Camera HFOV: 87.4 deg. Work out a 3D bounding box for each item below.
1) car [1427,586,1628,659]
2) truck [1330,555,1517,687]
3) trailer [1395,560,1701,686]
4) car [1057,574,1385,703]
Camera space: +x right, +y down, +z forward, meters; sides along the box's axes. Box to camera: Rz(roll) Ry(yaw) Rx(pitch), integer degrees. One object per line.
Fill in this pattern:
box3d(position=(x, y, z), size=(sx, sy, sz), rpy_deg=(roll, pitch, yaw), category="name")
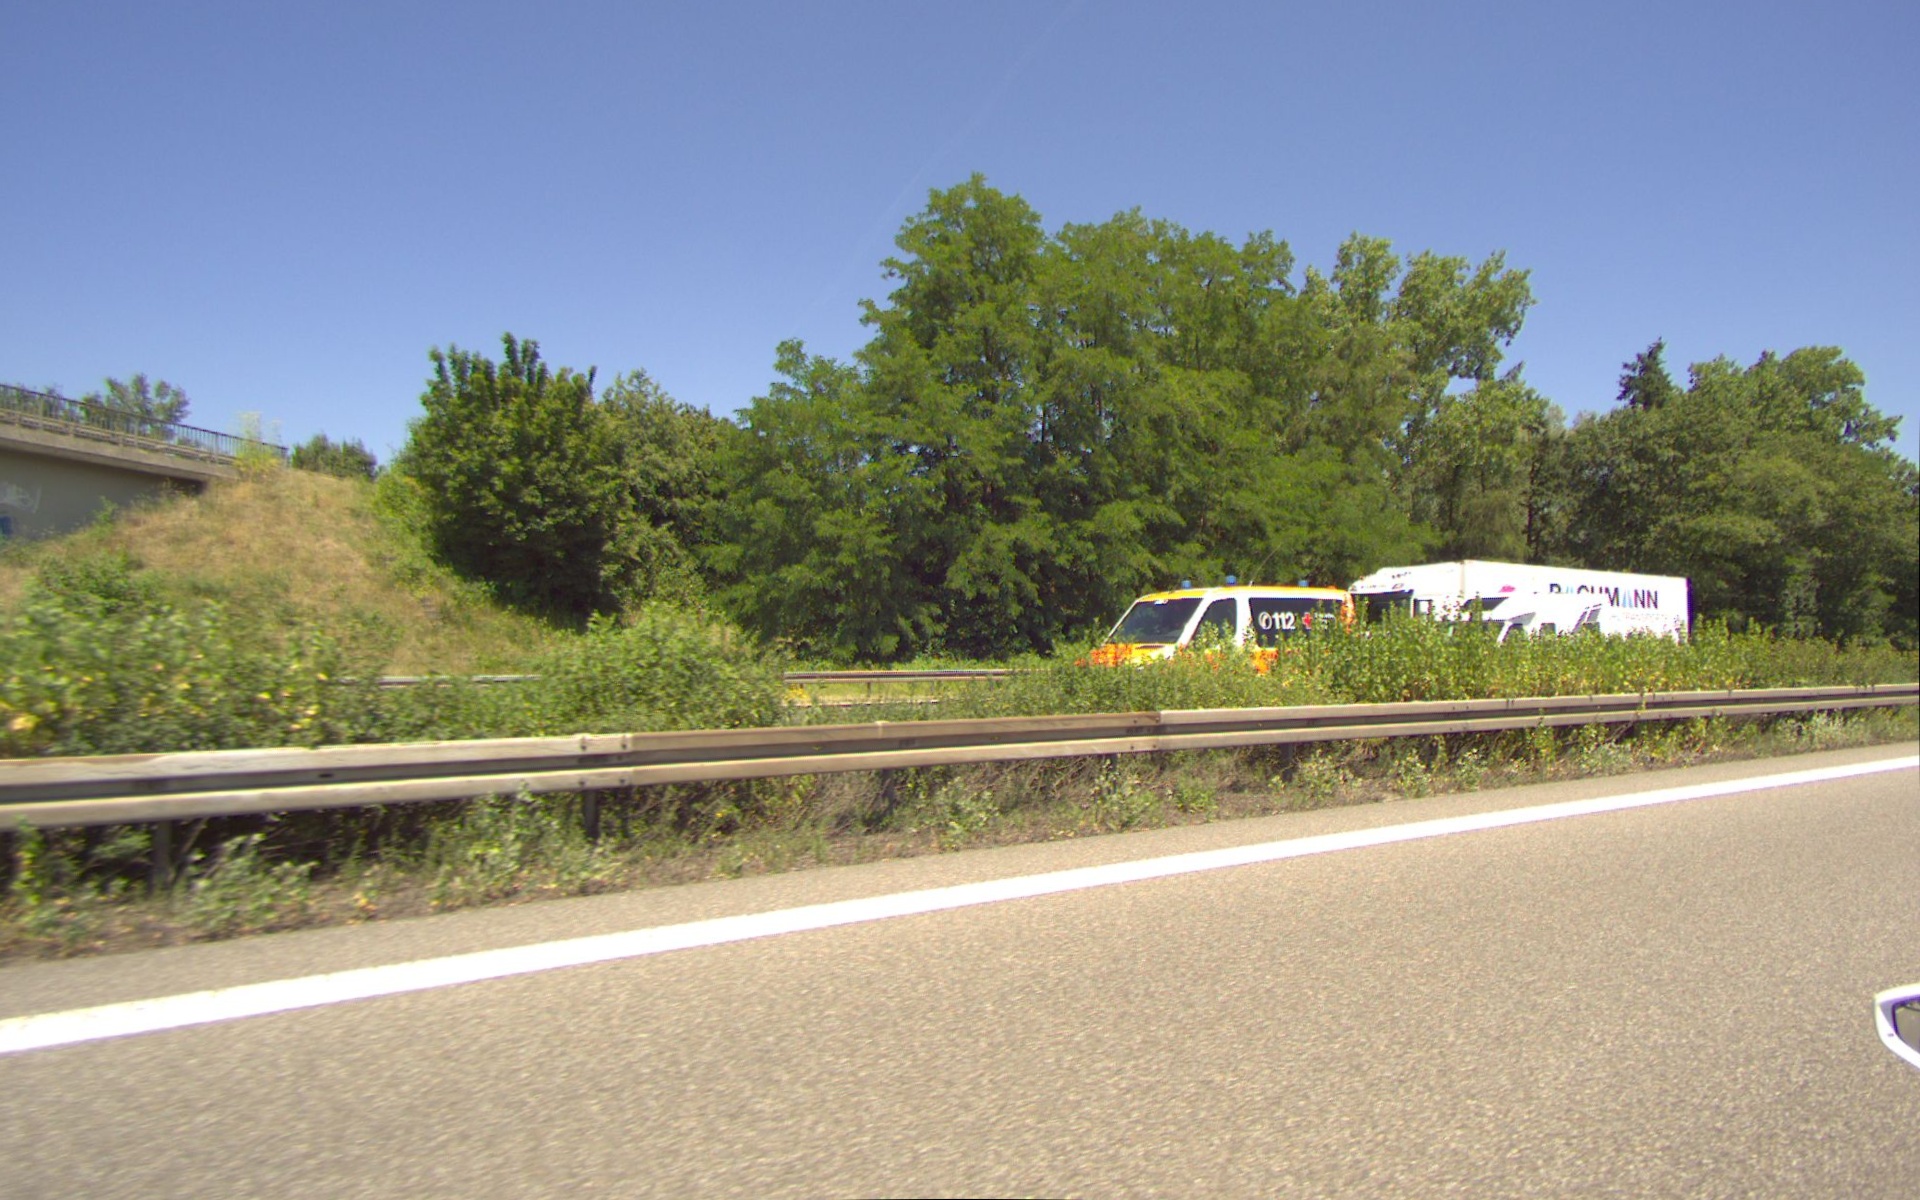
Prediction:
box3d(position=(15.460, 0.610, 27.303), size=(5.358, 1.804, 2.292), rpy_deg=(1, 0, -29), category="car")
box3d(position=(14.315, 0.636, 31.035), size=(5.056, 3.771, 2.782), rpy_deg=(1, 0, -30), category="truck")
box3d(position=(20.743, 0.823, 34.842), size=(13.766, 3.759, 2.812), rpy_deg=(2, 0, -31), category="trailer")
box3d(position=(4.364, 0.582, 16.415), size=(5.402, 1.804, 2.080), rpy_deg=(1, 0, -33), category="car")
